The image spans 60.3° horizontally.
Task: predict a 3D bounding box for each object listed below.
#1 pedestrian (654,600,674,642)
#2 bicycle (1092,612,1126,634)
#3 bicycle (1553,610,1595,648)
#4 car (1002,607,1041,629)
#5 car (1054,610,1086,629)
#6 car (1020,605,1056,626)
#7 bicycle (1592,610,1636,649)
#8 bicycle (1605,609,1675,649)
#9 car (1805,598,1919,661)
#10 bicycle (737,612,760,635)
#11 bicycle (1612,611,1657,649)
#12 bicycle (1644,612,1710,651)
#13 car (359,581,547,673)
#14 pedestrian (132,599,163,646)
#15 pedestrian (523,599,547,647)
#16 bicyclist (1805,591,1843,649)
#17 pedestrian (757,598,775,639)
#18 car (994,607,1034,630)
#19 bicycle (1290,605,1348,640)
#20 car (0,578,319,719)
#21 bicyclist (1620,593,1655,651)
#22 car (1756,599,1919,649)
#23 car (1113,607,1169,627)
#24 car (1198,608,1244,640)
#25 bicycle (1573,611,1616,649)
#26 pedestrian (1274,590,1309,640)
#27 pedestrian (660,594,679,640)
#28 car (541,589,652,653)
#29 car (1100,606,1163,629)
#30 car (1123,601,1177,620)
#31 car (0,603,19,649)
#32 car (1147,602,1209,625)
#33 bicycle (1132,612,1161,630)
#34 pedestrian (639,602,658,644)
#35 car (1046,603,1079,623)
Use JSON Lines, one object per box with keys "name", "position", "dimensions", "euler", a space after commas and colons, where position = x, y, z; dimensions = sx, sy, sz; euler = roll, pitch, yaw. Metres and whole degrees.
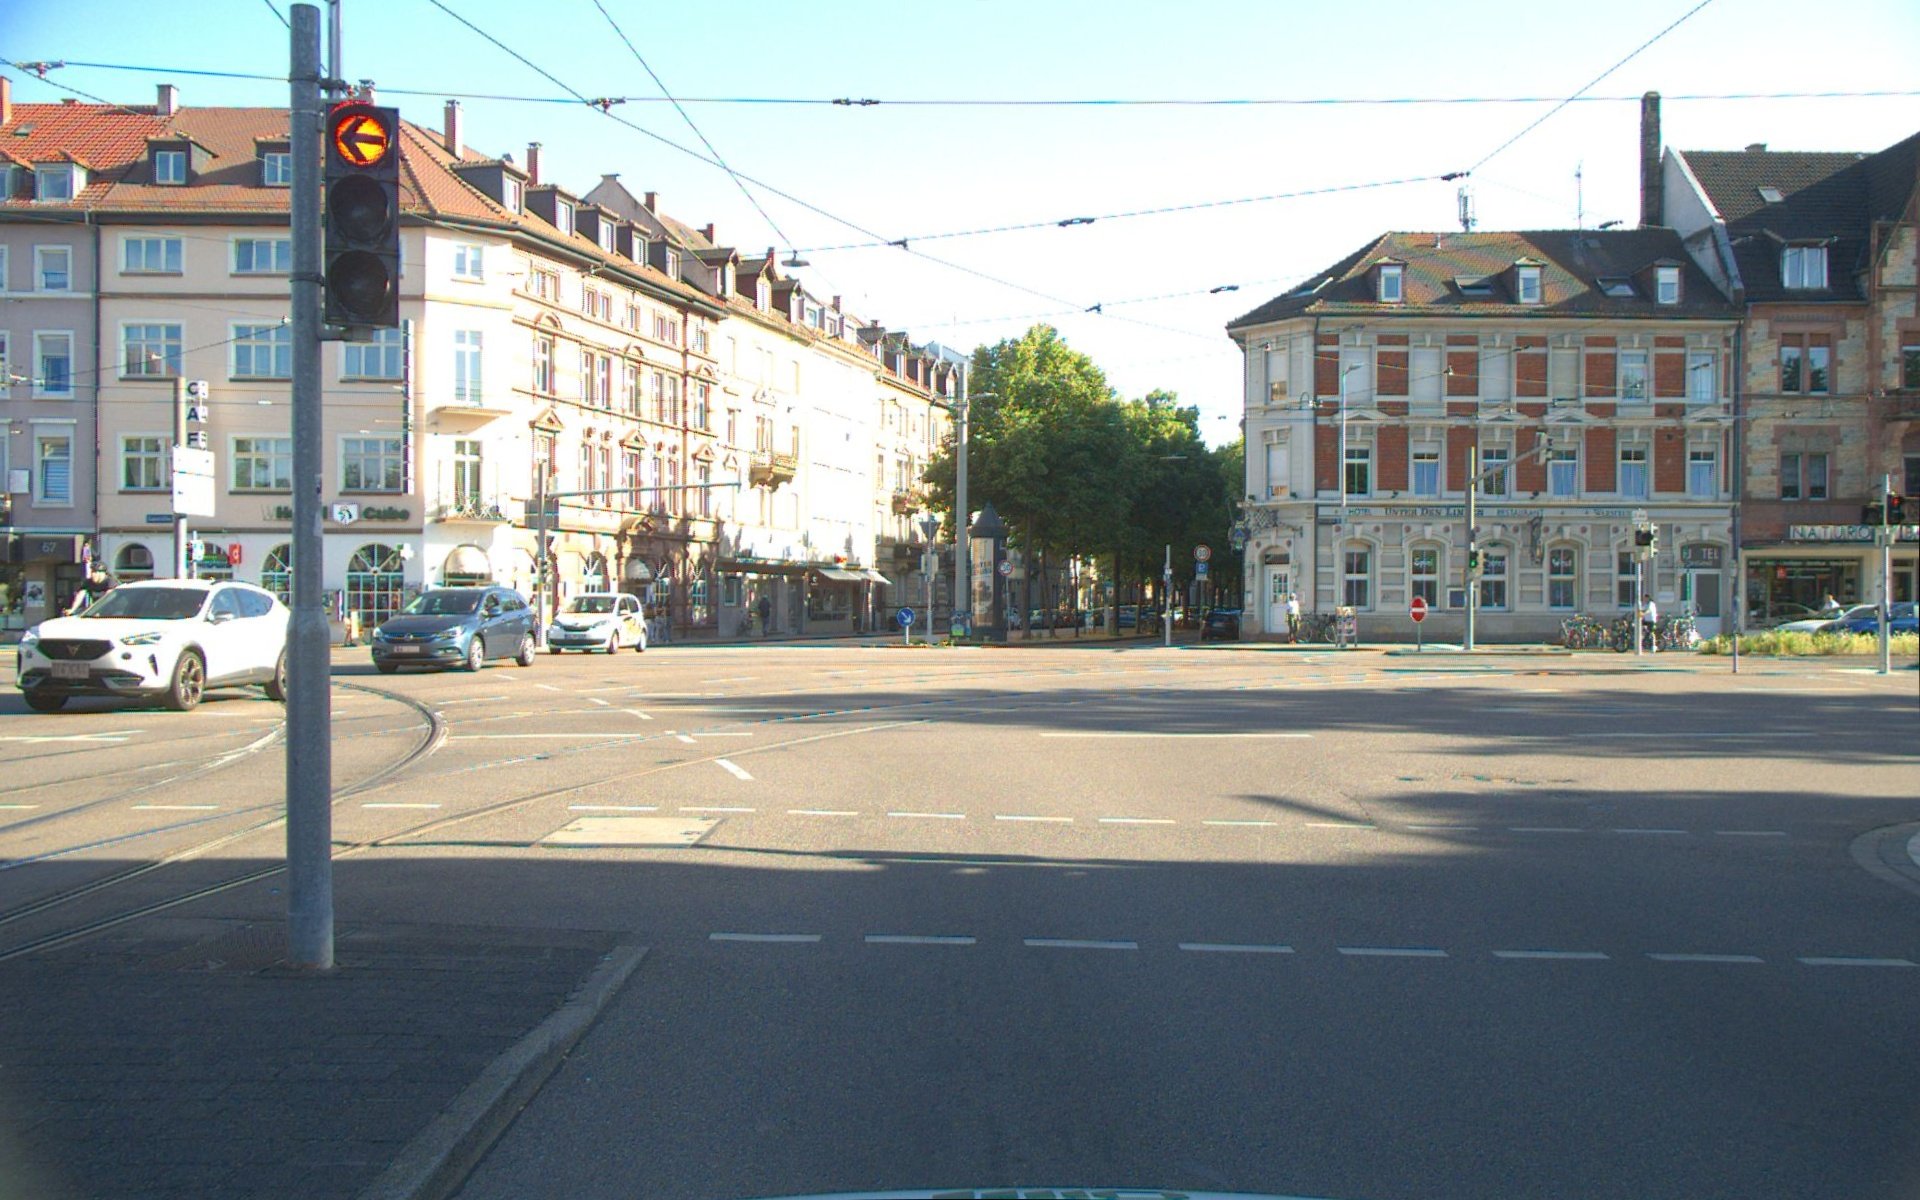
{"name": "pedestrian", "position": [-11.851, 0.844, 66.183], "dimensions": [0.539, 1.670, 0.633], "euler": [0, 0, 16]}
{"name": "bicycle", "position": [7.459, 1.158, 82.853], "dimensions": [0.577, 1.086, 1.924], "euler": [0, 0, -37]}
{"name": "bicycle", "position": [19.825, 0.928, 53.451], "dimensions": [0.663, 1.211, 1.967], "euler": [0, 0, 0]}
{"name": "car", "position": [4.380, 1.259, 117.158], "dimensions": [1.951, 1.523, 4.037], "euler": [0, 0, 13]}
{"name": "car", "position": [9.102, 1.606, 136.646], "dimensions": [1.951, 1.523, 4.037], "euler": [0, 0, 13]}
{"name": "car", "position": [5.785, 1.139, 122.665], "dimensions": [1.951, 1.523, 4.037], "euler": [0, 0, 13]}
{"name": "bicycle", "position": [21.152, 0.938, 53.498], "dimensions": [0.663, 1.211, 1.967], "euler": [0, 0, 0]}
{"name": "bicycle", "position": [21.055, 0.904, 51.239], "dimensions": [1.920, 1.211, 0.602], "euler": [0, 0, 2]}
{"name": "car", "position": [25.908, 0.796, 45.951], "dimensions": [3.906, 1.697, 1.954], "euler": [0, 0, -2]}
{"name": "bicycle", "position": [-10.140, 1.126, 79.380], "dimensions": [0.484, 1.086, 1.771], "euler": [0, 0, 15]}
{"name": "bicycle", "position": [21.815, 0.958, 53.500], "dimensions": [0.663, 1.211, 1.967], "euler": [0, 0, 0]}
{"name": "bicycle", "position": [23.036, 1.003, 53.120], "dimensions": [1.926, 1.211, 0.677], "euler": [0, 0, -13]}
{"name": "car", "position": [-8.996, 0.442, 29.782], "dimensions": [1.736, 1.523, 4.575], "euler": [0, 0, 3]}
{"name": "pedestrian", "position": [-26.624, 0.729, 54.202], "dimensions": [0.644, 1.551, 0.696], "euler": [0, 0, 14]}
{"name": "pedestrian", "position": [-14.652, 0.787, 56.991], "dimensions": [0.617, 1.670, 0.553], "euler": [0, 0, 13]}
{"name": "bicyclist", "position": [27.108, 0.614, 51.892], "dimensions": [0.885, 1.795, 0.601], "euler": [0, 0, -6]}
{"name": "pedestrian", "position": [-9.209, 0.860, 78.629], "dimensions": [0.667, 1.942, 0.633], "euler": [0, 0, 15]}
{"name": "car", "position": [3.694, 1.226, 112.911], "dimensions": [1.951, 1.523, 4.037], "euler": [0, 0, 13]}
{"name": "bicycle", "position": [12.451, 0.769, 57.354], "dimensions": [1.919, 1.211, 0.546], "euler": [0, 0, 4]}
{"name": "car", "position": [-9.684, 0.521, 20.148], "dimensions": [1.952, 1.523, 4.348], "euler": [0, 0, 2]}
{"name": "bicyclist", "position": [20.992, 0.667, 51.239], "dimensions": [0.854, 1.795, 0.602], "euler": [0, 0, 2]}
{"name": "car", "position": [25.960, 0.706, 48.947], "dimensions": [3.906, 1.437, 1.845], "euler": [0, 0, -2]}
{"name": "car", "position": [14.059, 1.318, 128.499], "dimensions": [3.910, 1.572, 1.998], "euler": [0, 0, 28]}
{"name": "car", "position": [13.065, 1.161, 82.597], "dimensions": [1.951, 1.523, 4.037], "euler": [0, 0, 13]}
{"name": "bicycle", "position": [20.514, 0.956, 53.487], "dimensions": [0.663, 1.211, 1.967], "euler": [0, 0, 0]}
{"name": "pedestrian", "position": [11.397, 0.503, 56.855], "dimensions": [0.712, 1.698, 0.924], "euler": [0, 0, -45]}
{"name": "pedestrian", "position": [-11.828, 0.676, 67.313], "dimensions": [0.567, 1.868, 0.633], "euler": [0, 0, 15]}
{"name": "car", "position": [-8.956, 0.492, 40.969], "dimensions": [1.681, 1.523, 3.586], "euler": [0, 0, 5]}
{"name": "car", "position": [12.023, 1.207, 115.829], "dimensions": [3.910, 1.572, 1.998], "euler": [0, 0, 28]}
{"name": "car", "position": [15.456, 0.855, 134.656], "dimensions": [3.910, 1.572, 1.998], "euler": [0, 0, 28]}
{"name": "car", "position": [-32.485, 0.825, 52.145], "dimensions": [4.547, 1.465, 1.743], "euler": [0, -1, -4]}
{"name": "car", "position": [15.370, 0.947, 116.739], "dimensions": [3.913, 1.572, 1.996], "euler": [0, 0, 30]}
{"name": "bicycle", "position": [11.199, 1.264, 99.435], "dimensions": [0.577, 1.086, 1.924], "euler": [0, 0, -37]}
{"name": "pedestrian", "position": [-12.473, 0.909, 66.195], "dimensions": [0.539, 1.670, 0.538], "euler": [0, 0, 16]}
{"name": "car", "position": [8.181, 1.041, 132.096], "dimensions": [1.951, 1.523, 4.037], "euler": [0, 0, 13]}
